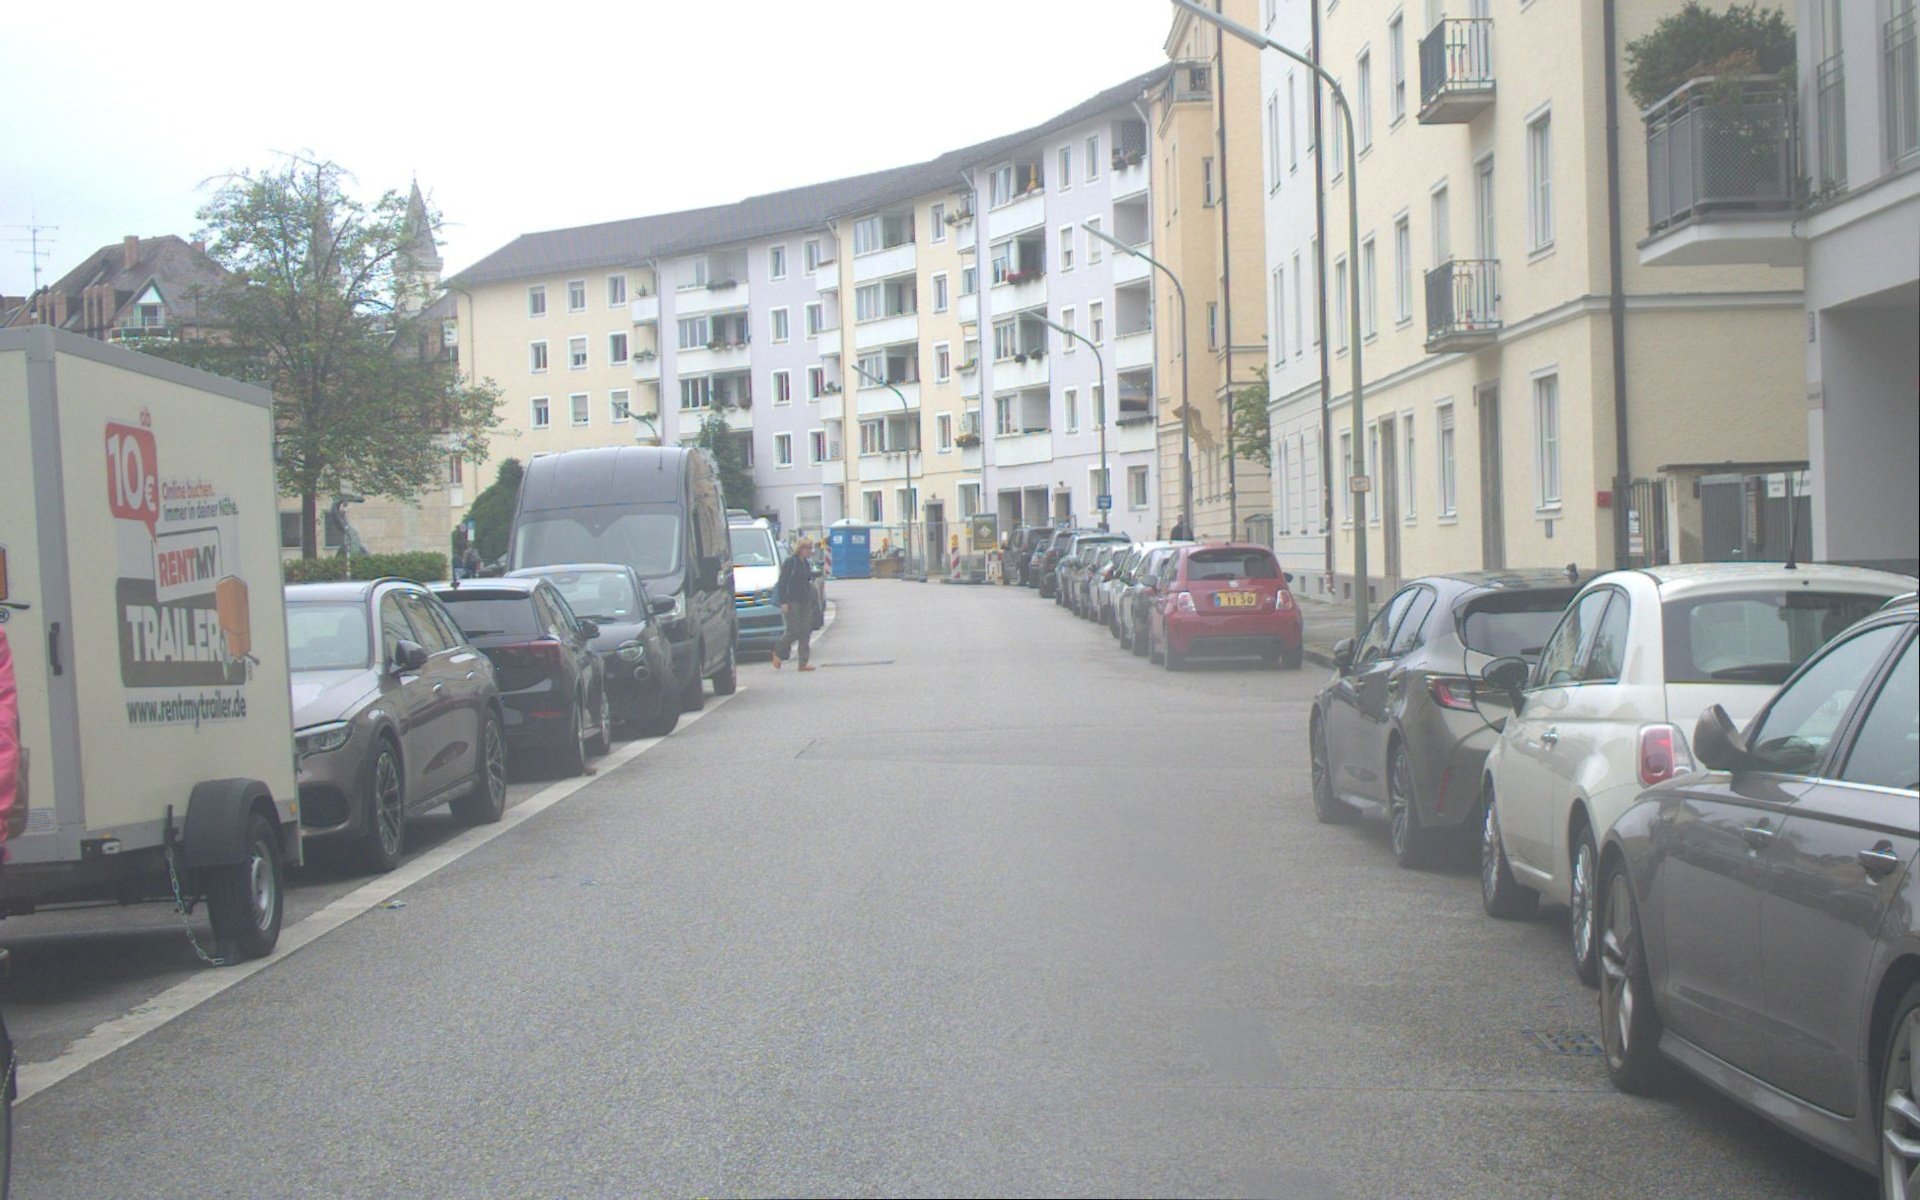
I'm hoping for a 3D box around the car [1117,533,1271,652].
[{"bbox_3d":[3.142,-0.117,46.902,1.692,1.486,4.343,-2,1,-1],"label":"car"}]

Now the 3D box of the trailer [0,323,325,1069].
[{"bbox_3d":[-3.917,0.301,13.336,1.709,2.453,4.386,-3,1,4],"label":"trailer"}]

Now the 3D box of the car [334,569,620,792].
[{"bbox_3d":[-3.531,0.538,25.730,1.700,1.441,3.825,-1,2,-2],"label":"car"}]

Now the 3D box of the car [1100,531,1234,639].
[{"bbox_3d":[3.119,-0.260,52.497,1.692,1.486,4.283,-2,2,-1],"label":"car"}]

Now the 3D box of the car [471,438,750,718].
[{"bbox_3d":[-3.515,-0.283,35.619,2.088,2.627,5.377,-1,2,2],"label":"car"}]

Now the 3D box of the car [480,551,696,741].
[{"bbox_3d":[-3.260,0.378,30.612,1.585,1.533,3.544,-2,0,-2],"label":"car"}]

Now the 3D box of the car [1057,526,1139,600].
[{"bbox_3d":[3.060,-0.853,77.032,1.590,1.576,4.299,0,1,-1],"label":"car"}]

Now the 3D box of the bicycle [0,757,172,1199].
[{"bbox_3d":[-2.041,0.936,6.634,0.504,1.124,1.773,-3,1,3],"label":"bicycle"}]

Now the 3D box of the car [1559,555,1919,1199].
[{"bbox_3d":[2.708,0.681,8.004,1.734,1.525,4.622,1,1,-1],"label":"car"}]

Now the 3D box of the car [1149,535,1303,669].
[{"bbox_3d":[3.201,-0.012,41.888,1.595,1.503,3.801,-2,1,1],"label":"car"}]

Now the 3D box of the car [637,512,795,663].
[{"bbox_3d":[-3.382,-0.227,48.492,1.882,1.925,4.601,-3,1,-1],"label":"car"}]

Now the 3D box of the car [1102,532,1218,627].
[{"bbox_3d":[3.321,-0.369,57.583,1.599,1.486,3.799,-1,2,-2],"label":"car"}]

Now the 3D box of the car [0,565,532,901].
[{"bbox_3d":[-3.703,0.633,19.150,1.766,1.533,4.540,-3,1,3],"label":"car"}]

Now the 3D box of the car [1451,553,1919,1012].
[{"bbox_3d":[2.915,0.590,13.278,1.519,1.525,3.527,0,1,0],"label":"car"}]

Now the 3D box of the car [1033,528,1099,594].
[{"bbox_3d":[2.665,-1.006,86.937,1.474,1.635,4.001,0,1,-1],"label":"car"}]

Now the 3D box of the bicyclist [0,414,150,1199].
[{"bbox_3d":[-2.068,0.445,6.569,0.694,1.556,0.966,-3,1,3],"label":"bicyclist"}]

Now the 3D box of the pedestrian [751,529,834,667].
[{"bbox_3d":[-2.102,-0.019,43.203,0.794,1.722,0.672,0,-1,-42],"label":"pedestrian"}]

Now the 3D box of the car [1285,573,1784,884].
[{"bbox_3d":[2.859,0.578,17.972,1.763,1.403,4.079,-1,1,-2],"label":"car"}]

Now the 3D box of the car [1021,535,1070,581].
[{"bbox_3d":[2.452,-1.227,99.000,1.272,1.294,2.798,-1,1,-1],"label":"car"}]
